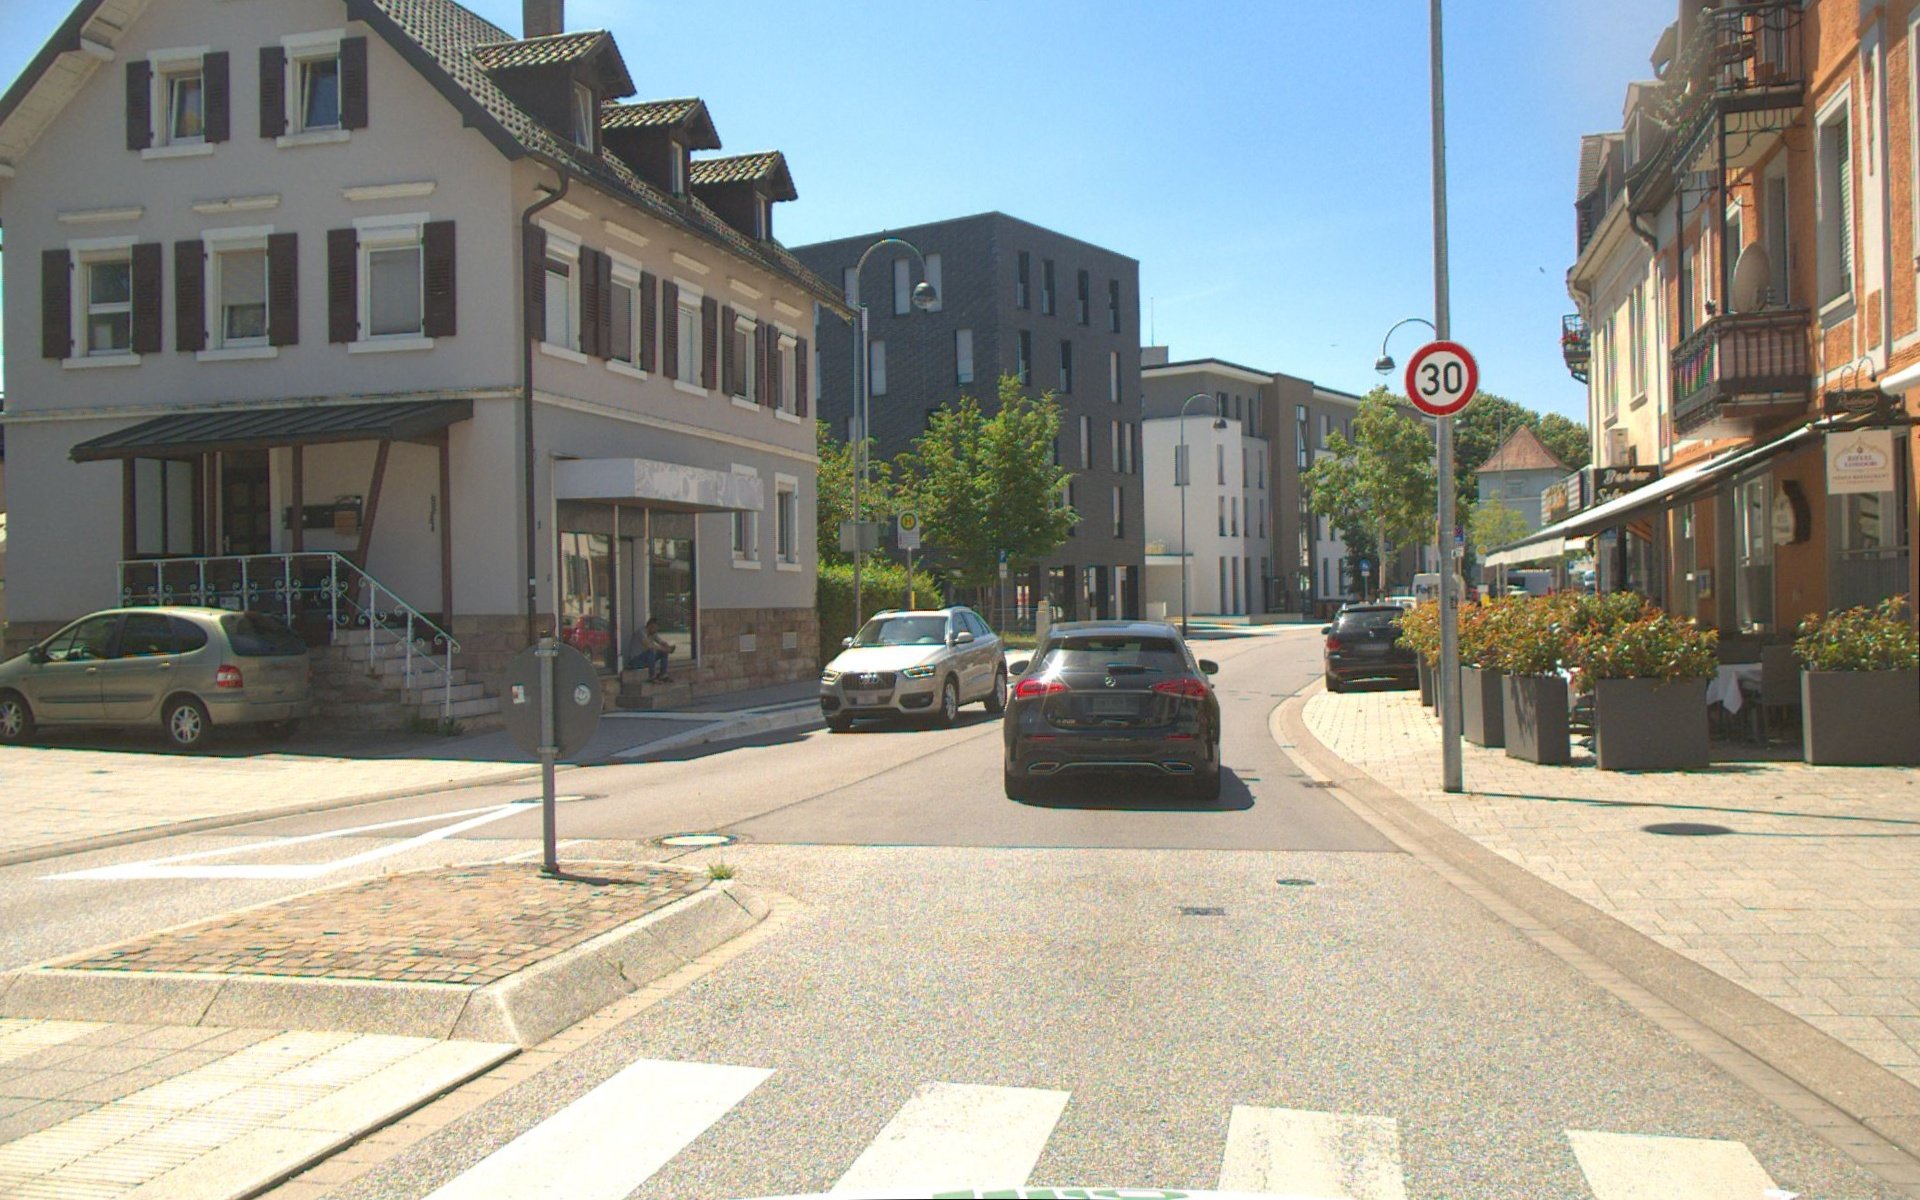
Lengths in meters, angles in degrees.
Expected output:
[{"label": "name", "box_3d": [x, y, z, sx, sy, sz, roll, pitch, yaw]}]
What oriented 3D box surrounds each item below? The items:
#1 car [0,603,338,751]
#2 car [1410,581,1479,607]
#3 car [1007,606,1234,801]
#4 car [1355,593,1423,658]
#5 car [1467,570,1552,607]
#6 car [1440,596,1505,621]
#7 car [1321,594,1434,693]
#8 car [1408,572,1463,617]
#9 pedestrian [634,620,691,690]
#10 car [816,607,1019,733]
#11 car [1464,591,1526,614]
[{"label": "car", "box_3d": [-9.785, 0.890, 20.061, 3.902, 1.668, 1.759, -1, 0, 16]}, {"label": "car", "box_3d": [32.006, -0.384, 109.255, 3.919, 1.691, 1.993, -1, 0, 35]}, {"label": "car", "box_3d": [1.441, 0.844, 14.937, 1.725, 1.483, 4.441, -1, -1, 5]}, {"label": "car", "box_3d": [11.108, 0.639, 42.875, 1.571, 1.557, 3.495, -3, -1, 14]}, {"label": "car", "box_3d": [41.240, -0.840, 124.130, 5.548, 2.624, 2.505, -1, 0, 37]}, {"label": "car", "box_3d": [35.613, 0.609, 114.935, 3.919, 1.691, 1.993, -1, 0, 35]}, {"label": "car", "box_3d": [7.523, 0.736, 29.623, 1.713, 1.512, 4.003, -5, -2, 16]}, {"label": "car", "box_3d": [22.579, -0.251, 78.462, 1.954, 2.049, 3.997, -1, 0, 25]}, {"label": "pedestrian", "box_3d": [-4.653, 0.857, 25.910, 0.655, 1.073, 0.700, -1, 0, 11]}, {"label": "car", "box_3d": [-0.499, 0.938, 23.612, 1.639, 1.570, 4.086, -3, -1, 17]}, {"label": "car", "box_3d": [38.714, 0.188, 119.710, 3.919, 1.691, 1.993, -1, 0, 35]}]
